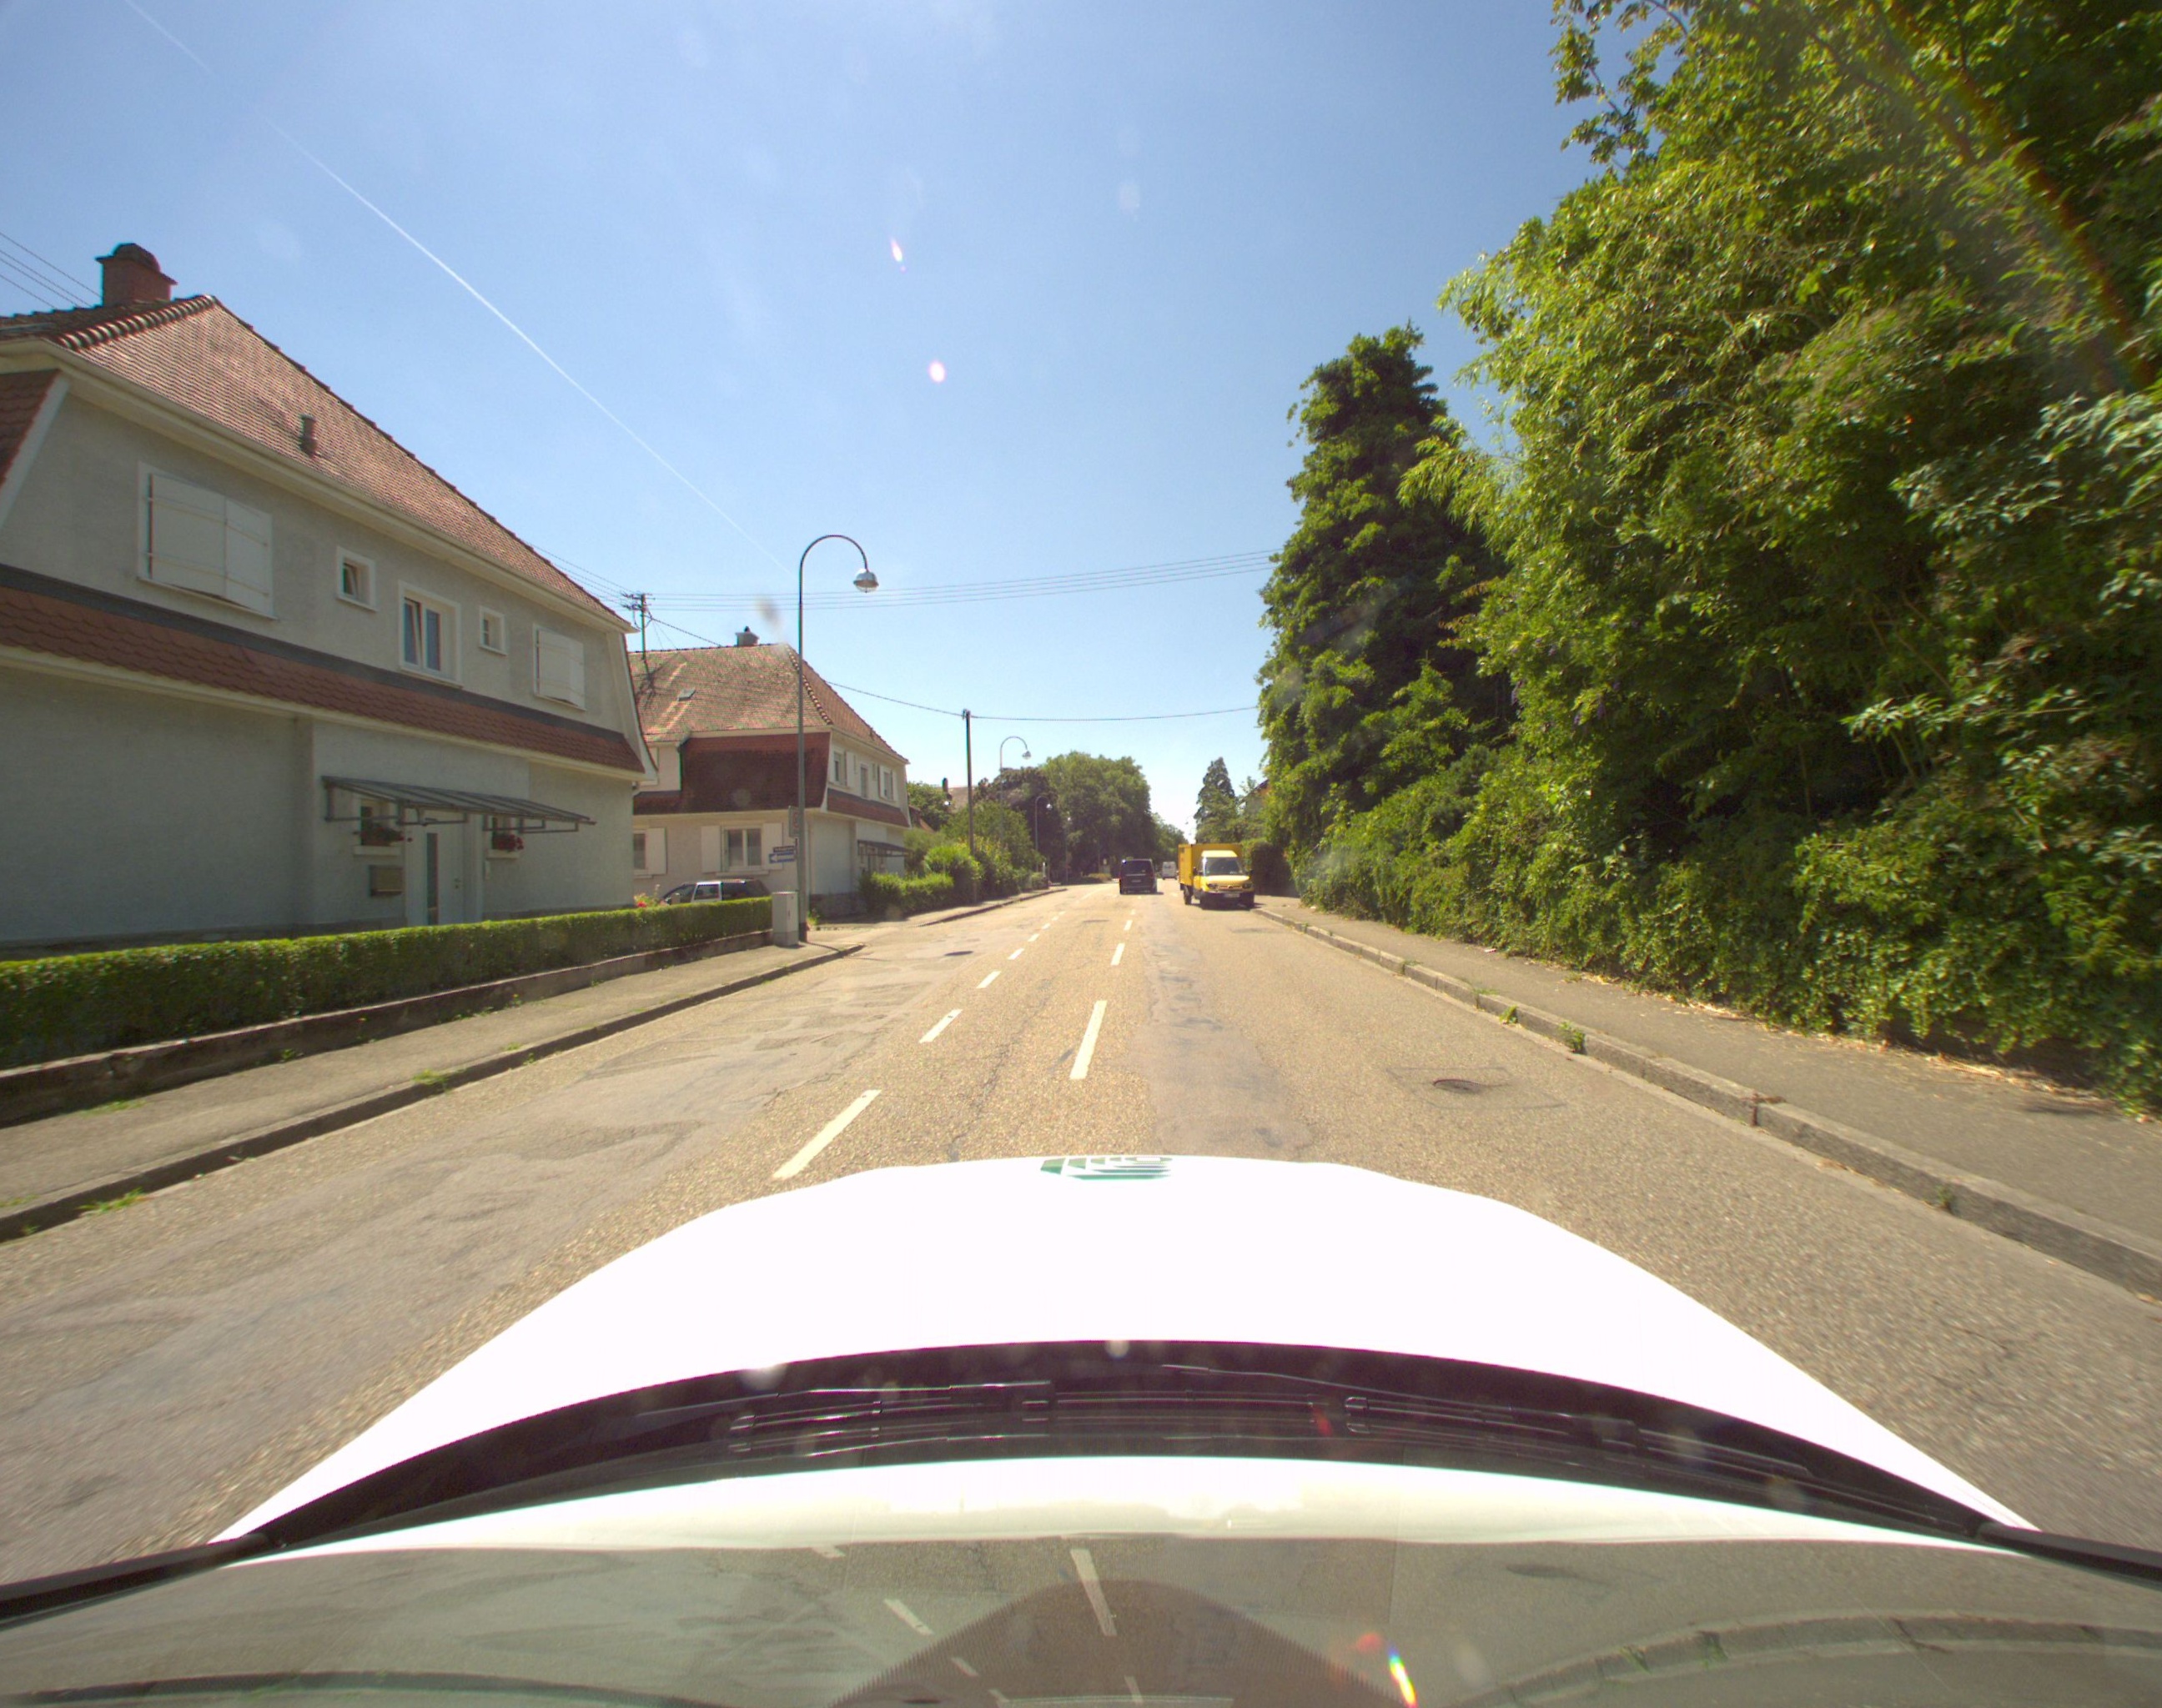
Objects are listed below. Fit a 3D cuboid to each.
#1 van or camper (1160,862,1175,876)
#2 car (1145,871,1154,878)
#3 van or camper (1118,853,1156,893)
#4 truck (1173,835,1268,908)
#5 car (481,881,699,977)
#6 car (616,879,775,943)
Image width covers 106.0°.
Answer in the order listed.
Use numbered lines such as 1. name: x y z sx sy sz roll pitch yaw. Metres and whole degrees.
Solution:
1. van or camper: 12.609 2.168 118.224 1.983 2.014 4.007 -2 -1 6
2. car: 14.327 4.242 170.153 1.537 1.449 3.016 -3 -1 13
3. van or camper: 3.069 1.017 44.468 1.894 2.014 5.276 -1 -1 4
4. truck: 4.829 0.616 29.220 2.348 2.258 6.091 -2 -1 0
5. car: -11.316 1.691 18.949 3.851 1.905 1.881 -3 -1 3
6. car: -11.590 1.680 24.648 3.851 1.641 1.881 -3 -1 3
